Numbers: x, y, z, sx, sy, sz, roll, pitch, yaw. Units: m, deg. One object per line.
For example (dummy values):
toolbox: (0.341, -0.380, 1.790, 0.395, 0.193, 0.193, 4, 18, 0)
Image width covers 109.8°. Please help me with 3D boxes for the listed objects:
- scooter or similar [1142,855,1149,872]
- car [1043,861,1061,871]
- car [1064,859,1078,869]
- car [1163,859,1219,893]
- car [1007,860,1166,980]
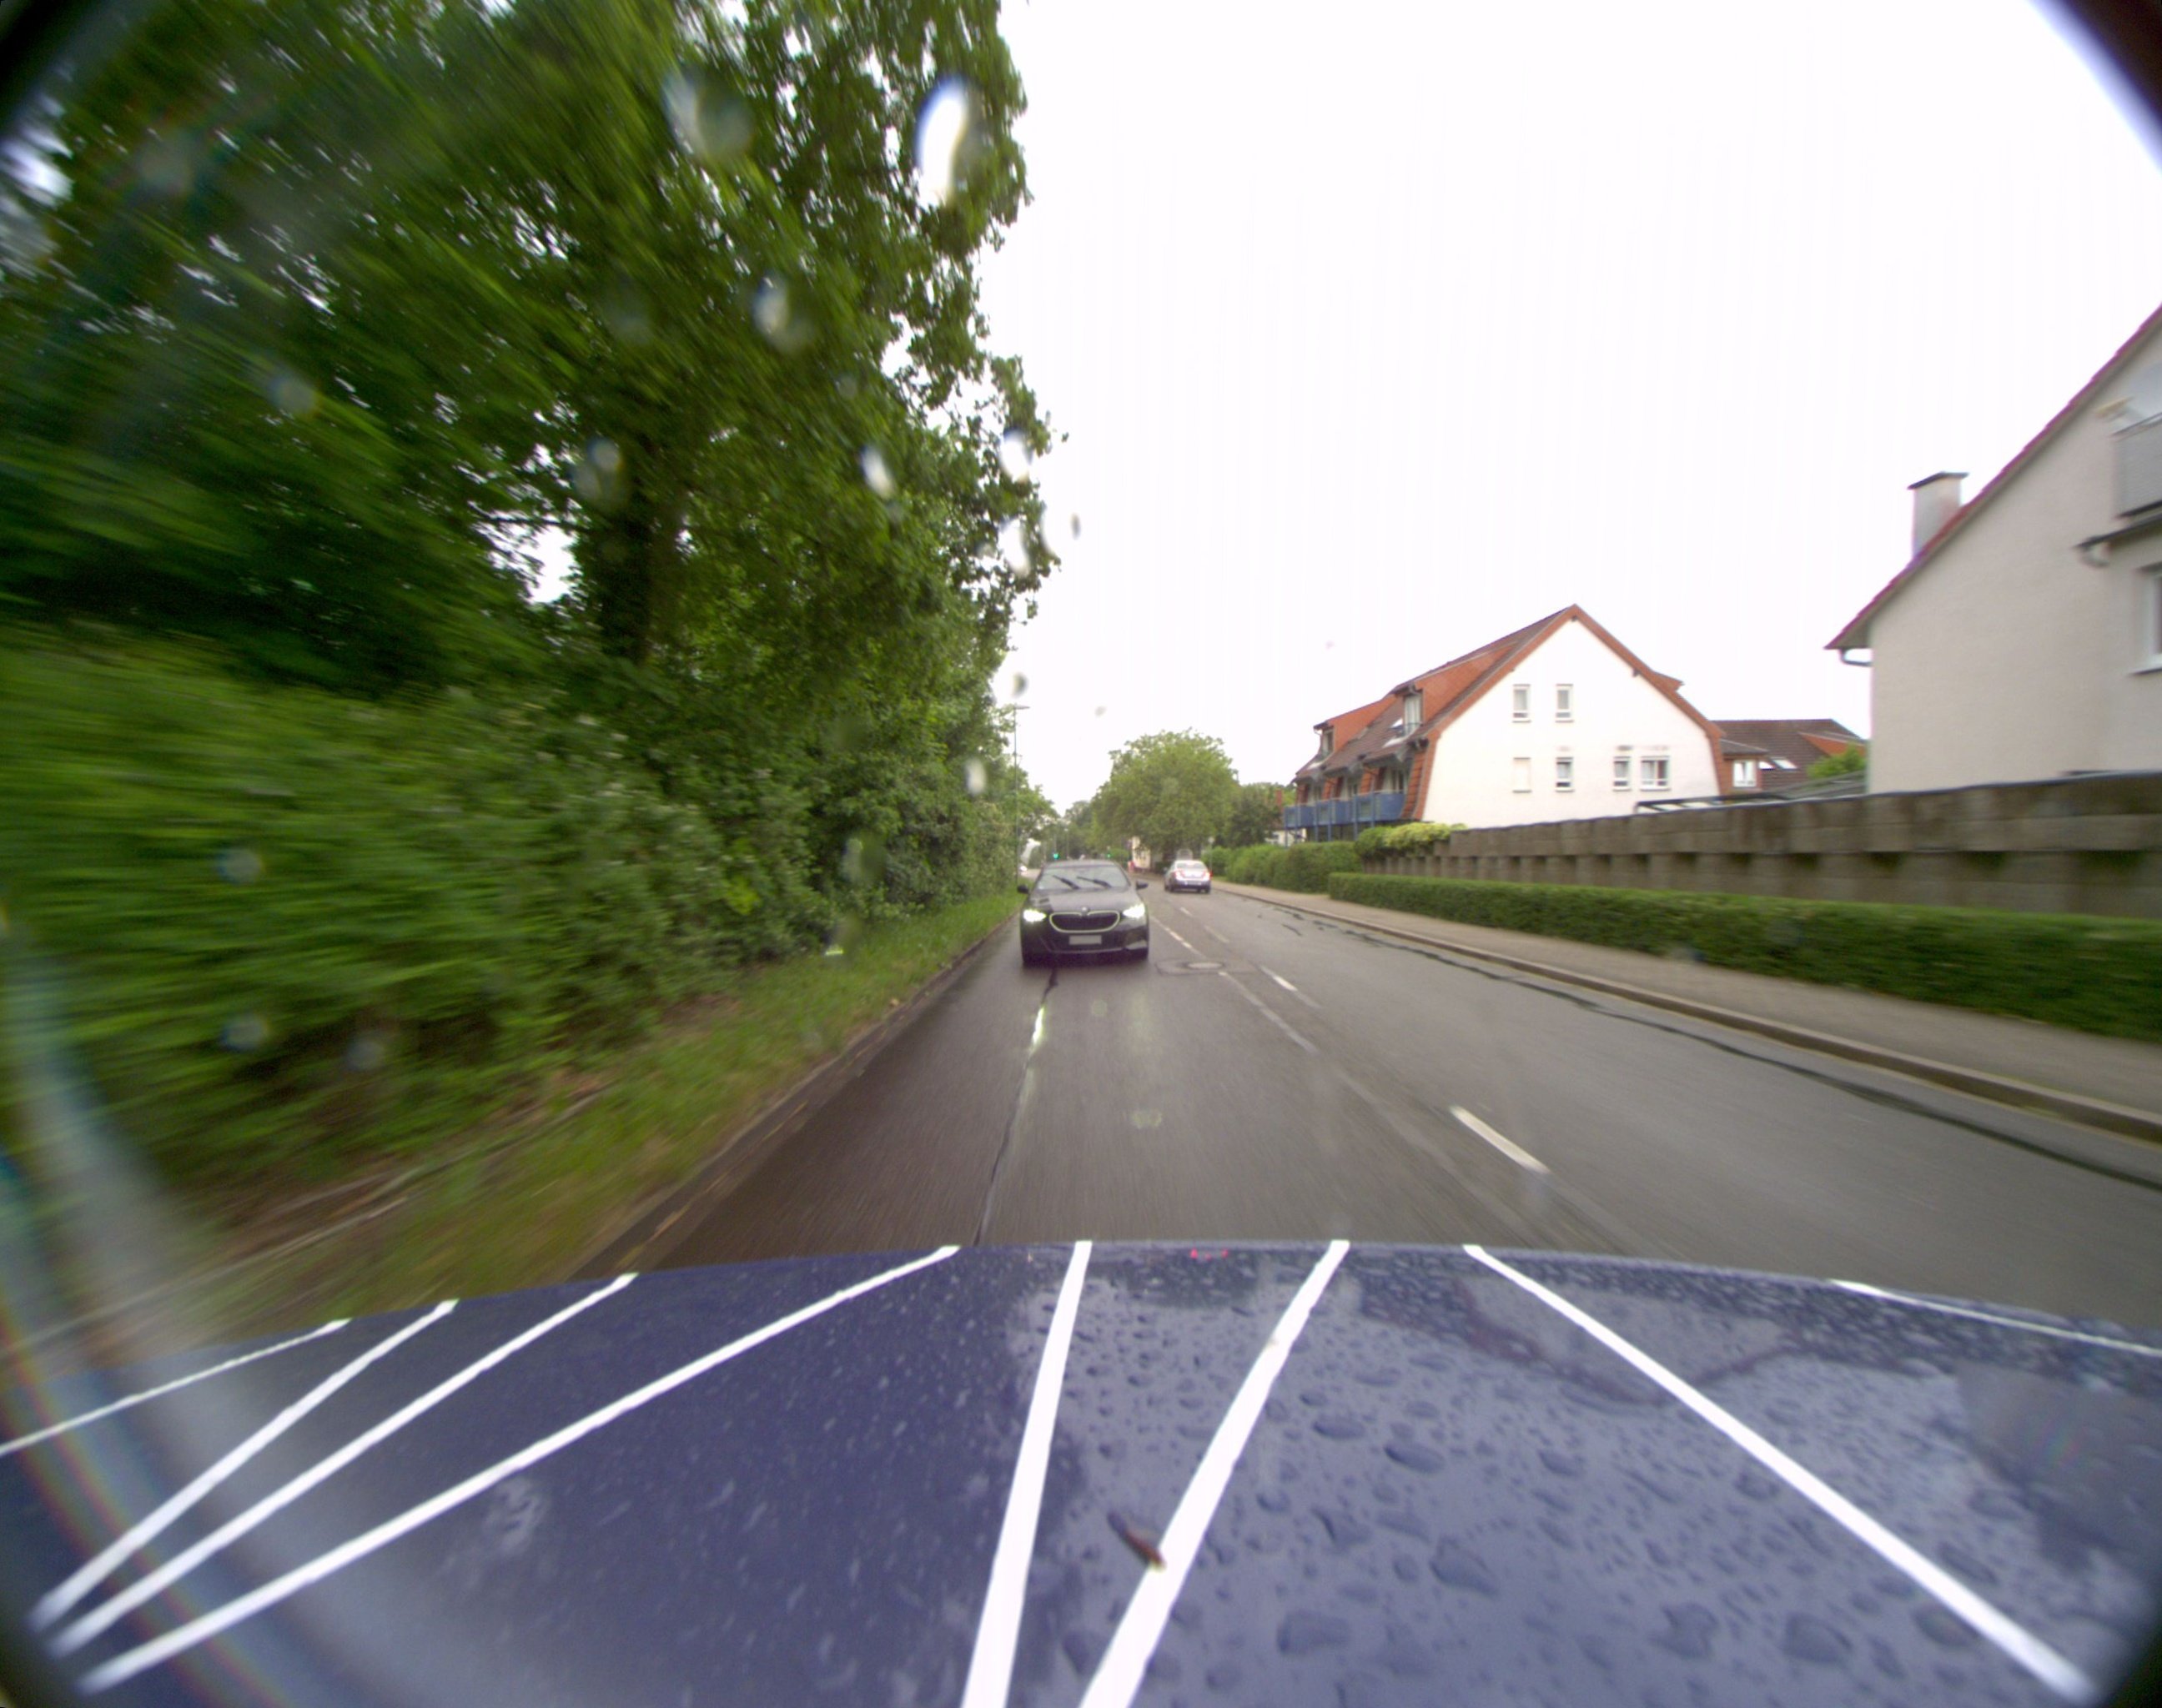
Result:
scooter or similar: (7.160, 1.038, 84.405, 0.402, 1.765, 1.511, -2, 1, -8)
car: (-4.940, 2.002, 129.336, 2.001, 1.651, 4.298, 0, -1, -16)
car: (-1.620, 1.698, 122.993, 1.999, 1.420, 4.387, 4, -2, -4)
car: (4.959, 0.967, 34.770, 1.998, 1.411, 4.486, 1, 0, 1)
car: (-0.111, 0.937, 12.445, 2.000, 1.586, 4.145, -1, -1, -8)
